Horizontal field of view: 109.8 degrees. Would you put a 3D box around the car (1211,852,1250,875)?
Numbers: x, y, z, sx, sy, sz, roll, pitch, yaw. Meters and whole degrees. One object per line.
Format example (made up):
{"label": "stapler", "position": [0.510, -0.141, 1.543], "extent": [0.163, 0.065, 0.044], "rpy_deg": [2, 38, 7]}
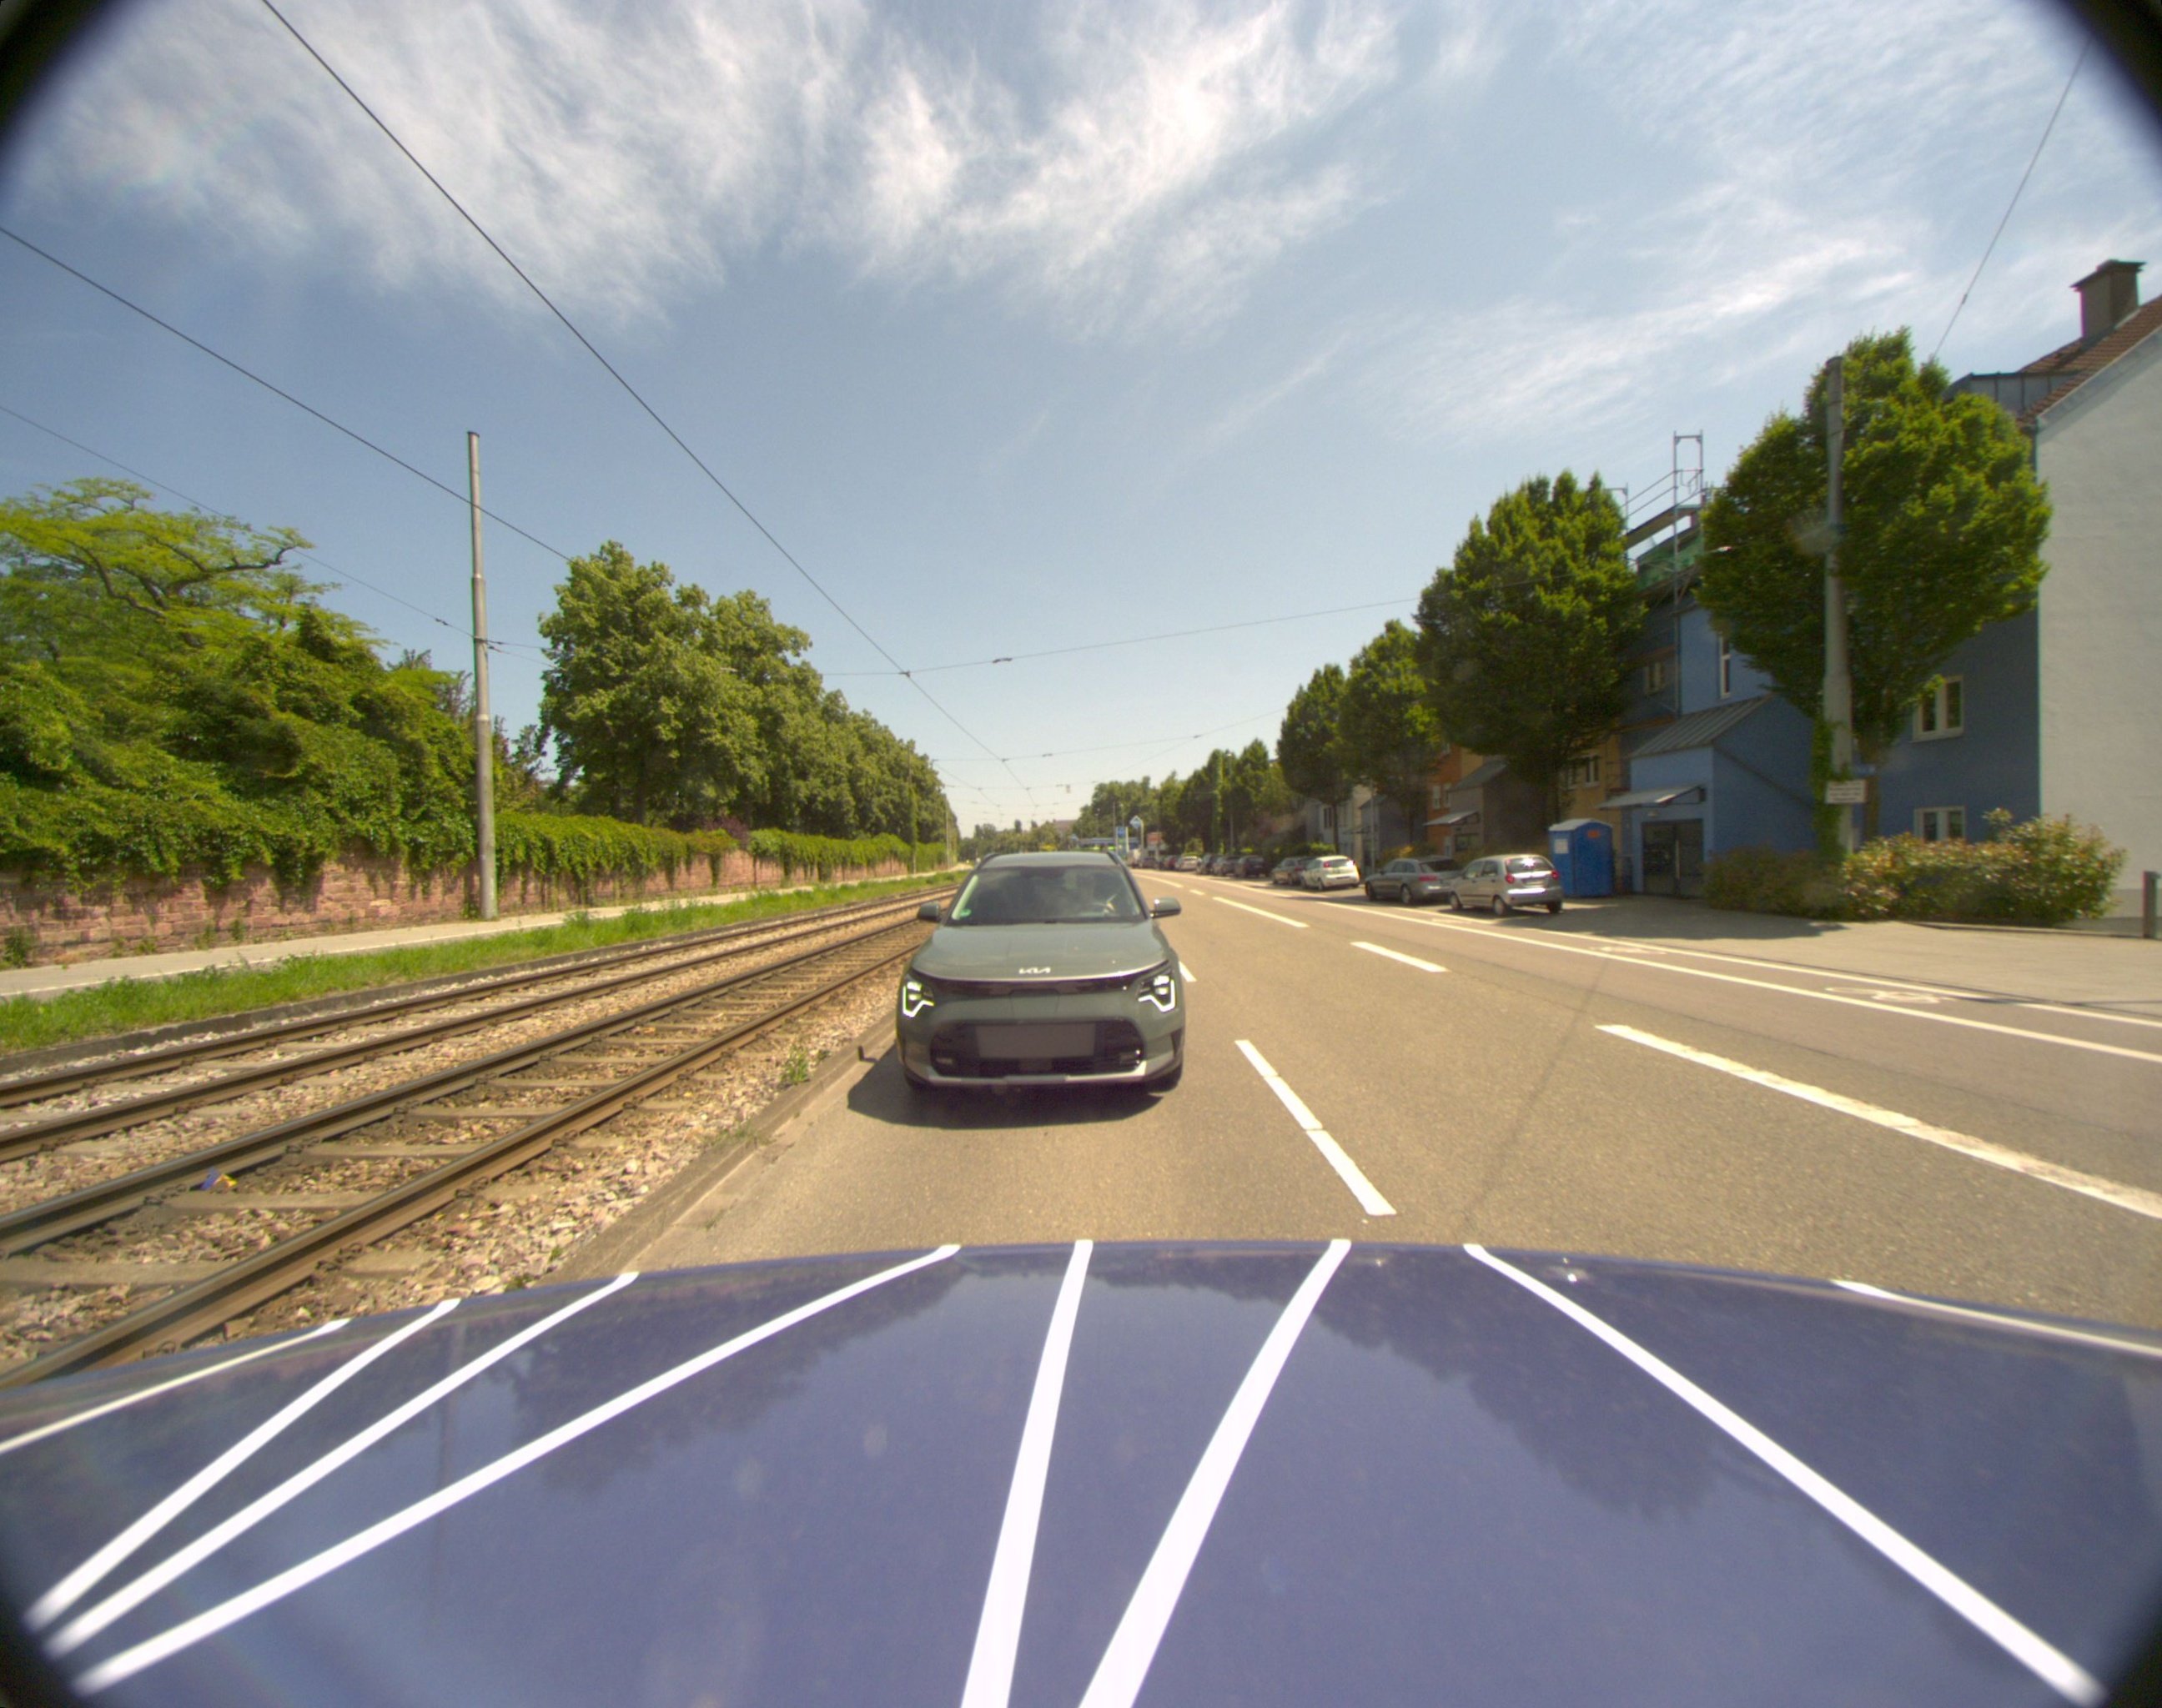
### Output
{"label": "car", "position": [11.178, 0.693, 56.970], "extent": [1.830, 1.487, 4.756], "rpy_deg": [-3, 0, -1]}

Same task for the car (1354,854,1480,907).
{"label": "car", "position": [10.970, 0.826, 25.310], "extent": [1.791, 1.441, 5.133], "rpy_deg": [-5, -1, 0]}

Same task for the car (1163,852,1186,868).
{"label": "car", "position": [9.827, 0.660, 80.004], "extent": [1.604, 1.584, 3.680], "rpy_deg": [-3, 0, -6]}

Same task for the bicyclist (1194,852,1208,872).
{"label": "bicyclist", "position": [8.956, 0.588, 56.693], "extent": [0.737, 1.422, 1.124], "rpy_deg": [2, 1, -2]}

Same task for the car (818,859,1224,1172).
{"label": "car", "position": [-0.220, 0.875, 6.006], "extent": [2.062, 1.534, 4.001], "rpy_deg": [-3, 0, 3]}

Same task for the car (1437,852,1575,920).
{"label": "car", "position": [11.037, 0.768, 20.007], "extent": [1.597, 1.487, 3.448], "rpy_deg": [-6, 0, 1]}

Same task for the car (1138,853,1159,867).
{"label": "car", "position": [8.390, 0.730, 94.159], "extent": [1.870, 1.528, 4.142], "rpy_deg": [-3, 0, -4]}

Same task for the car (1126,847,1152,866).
{"label": "car", "position": [7.641, 0.343, 100.144], "extent": [2.285, 2.294, 5.226], "rpy_deg": [-3, 0, -8]}

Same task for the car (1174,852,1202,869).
{"label": "car", "position": [10.436, 0.630, 74.112], "extent": [1.845, 1.573, 4.495], "rpy_deg": [-3, 0, -2]}

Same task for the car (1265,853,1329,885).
{"label": "car", "position": [11.420, 0.753, 40.532], "extent": [1.708, 1.421, 4.750], "rpy_deg": [-6, 0, -3]}

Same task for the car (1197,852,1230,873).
{"label": "car", "position": [10.918, 0.661, 62.790], "extent": [1.772, 1.579, 4.147], "rpy_deg": [-3, 0, -3]}

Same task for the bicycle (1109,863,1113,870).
{"label": "bicycle", "position": [4.592, 1.880, 115.666], "extent": [0.641, 1.089, 1.638], "rpy_deg": [1, 1, 1]}

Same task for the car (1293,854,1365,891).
{"label": "car", "position": [11.384, 0.808, 35.171], "extent": [1.750, 1.434, 4.420], "rpy_deg": [-6, 0, 0]}

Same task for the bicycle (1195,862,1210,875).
{"label": "bicycle", "position": [9.074, 1.069, 56.745], "extent": [0.703, 0.945, 2.243], "rpy_deg": [1, -1, -2]}

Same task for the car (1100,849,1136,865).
{"label": "car", "position": [5.909, 0.527, 121.412], "extent": [5.219, 2.294, 2.288], "rpy_deg": [-3, 0, 16]}

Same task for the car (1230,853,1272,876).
{"label": "car", "position": [11.509, 0.690, 51.680], "extent": [1.754, 1.424, 4.257], "rpy_deg": [-4, 0, 0]}

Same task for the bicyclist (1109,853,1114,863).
{"label": "bicyclist", "position": [4.619, 0.661, 115.604], "extent": [0.737, 1.496, 0.737], "rpy_deg": [0, 1, 1]}

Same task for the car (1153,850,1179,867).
{"label": "car", "position": [9.496, 0.487, 85.211], "extent": [1.999, 1.783, 4.556], "rpy_deg": [-2, 0, -5]}
